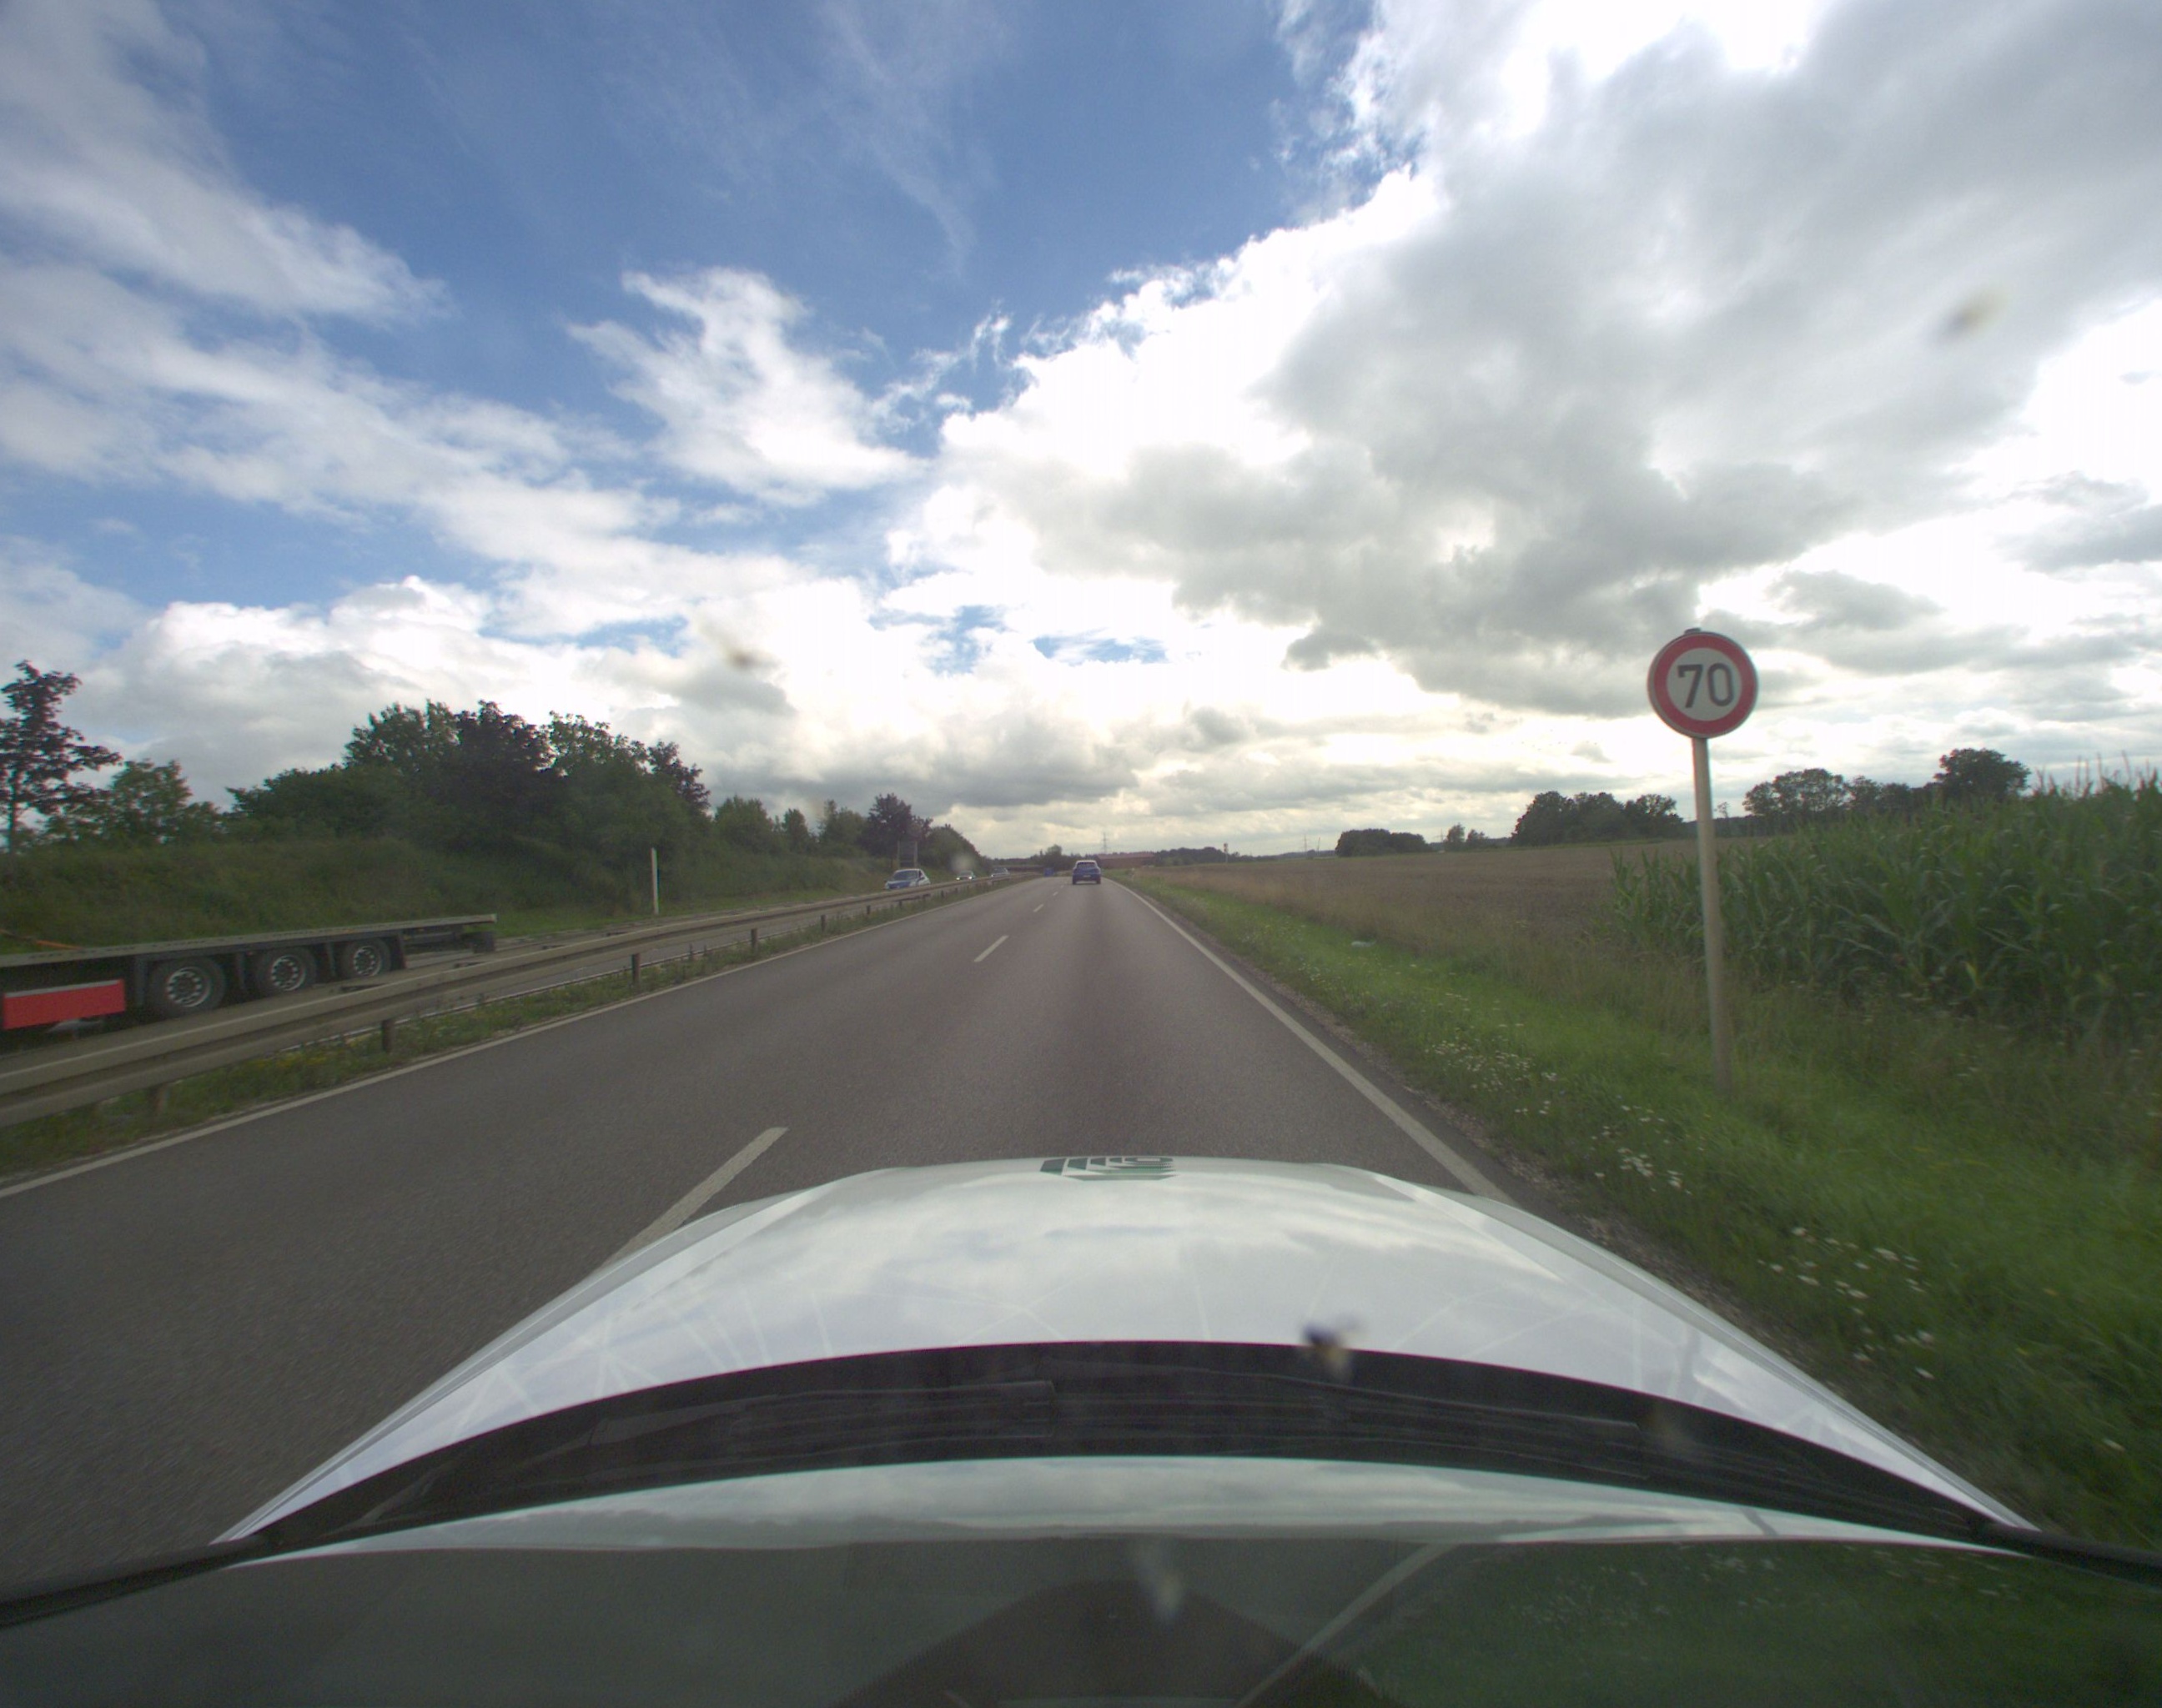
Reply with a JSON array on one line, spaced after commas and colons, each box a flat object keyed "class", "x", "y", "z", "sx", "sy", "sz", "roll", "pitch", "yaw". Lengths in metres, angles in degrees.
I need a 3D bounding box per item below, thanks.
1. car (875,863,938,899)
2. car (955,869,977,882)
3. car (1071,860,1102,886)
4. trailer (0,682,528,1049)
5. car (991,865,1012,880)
[{"class": "car", "x": -8.598, "y": 1.296, "z": 40.574, "sx": 2.078, "sy": 1.519, "sz": 4.194, "roll": -3, "pitch": 0, "yaw": 1}, {"class": "car", "x": -12.706, "y": 2.361, "z": 90.232, "sx": 1.686, "sy": 1.324, "sz": 4.417, "roll": -3, "pitch": 0, "yaw": 0}, {"class": "car", "x": 0.402, "y": 1.255, "z": 56.118, "sx": 2.026, "sy": 1.660, "sz": 4.543, "roll": -1, "pitch": -1, "yaw": 0}, {"class": "trailer", "x": -13.016, "y": 0.170, "z": 10.437, "sx": 2.766, "sy": 3.947, "sz": 12.984, "roll": -3, "pitch": 0, "yaw": 0}, {"class": "car", "x": -8.578, "y": 1.975, "z": 88.170, "sx": 1.748, "sy": 1.486, "sz": 4.576, "roll": -3, "pitch": 0, "yaw": 0}]
